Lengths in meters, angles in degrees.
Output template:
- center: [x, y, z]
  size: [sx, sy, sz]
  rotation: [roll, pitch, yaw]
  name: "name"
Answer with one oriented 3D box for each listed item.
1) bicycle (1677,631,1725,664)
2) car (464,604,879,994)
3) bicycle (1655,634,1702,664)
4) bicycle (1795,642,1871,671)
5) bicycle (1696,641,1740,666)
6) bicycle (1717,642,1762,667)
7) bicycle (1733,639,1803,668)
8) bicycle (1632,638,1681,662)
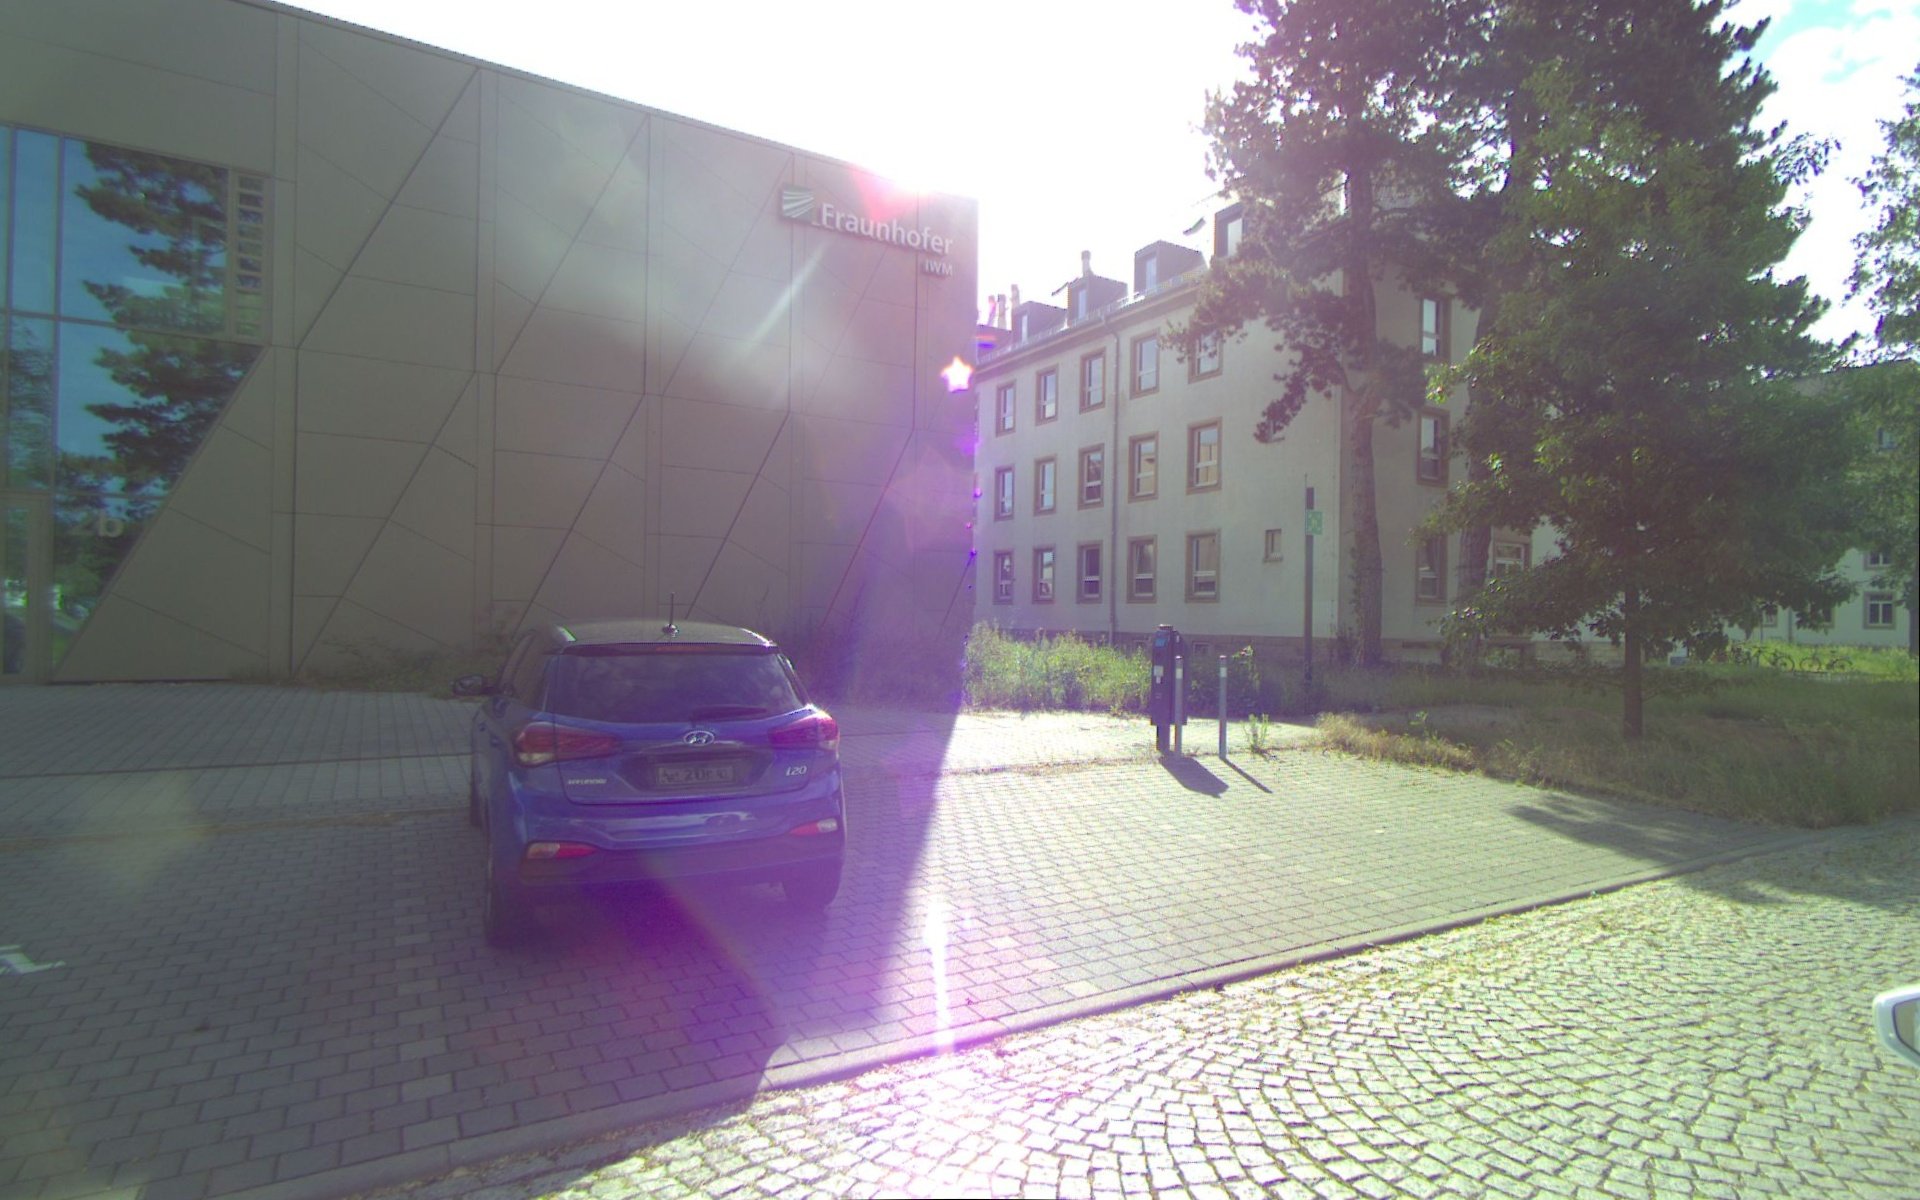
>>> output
- center: [32.976, 2.109, 44.689]
  size: [2.524, 1.456, 0.822]
  rotation: [2, -1, -31]
  name: "bicycle"
- center: [-2.036, 0.837, 6.153]
  size: [1.698, 1.483, 3.820]
  rotation: [2, 0, -27]
  name: "car"
- center: [32.336, 2.183, 45.202]
  size: [2.524, 1.298, 0.822]
  rotation: [2, -1, -31]
  name: "bicycle"
- center: [34.298, 2.221, 39.485]
  size: [0.820, 1.061, 2.104]
  rotation: [2, -1, -33]
  name: "bicycle"
- center: [33.076, 2.322, 43.827]
  size: [2.100, 1.061, 0.822]
  rotation: [2, -1, -31]
  name: "bicycle"
- center: [33.500, 2.335, 43.173]
  size: [2.100, 1.061, 0.822]
  rotation: [2, -1, -31]
  name: "bicycle"
- center: [33.166, 2.190, 41.274]
  size: [0.820, 1.123, 2.104]
  rotation: [2, -1, -33]
  name: "bicycle"
- center: [31.888, 2.288, 45.981]
  size: [2.524, 1.061, 0.896]
  rotation: [2, -1, -31]
  name: "bicycle"
